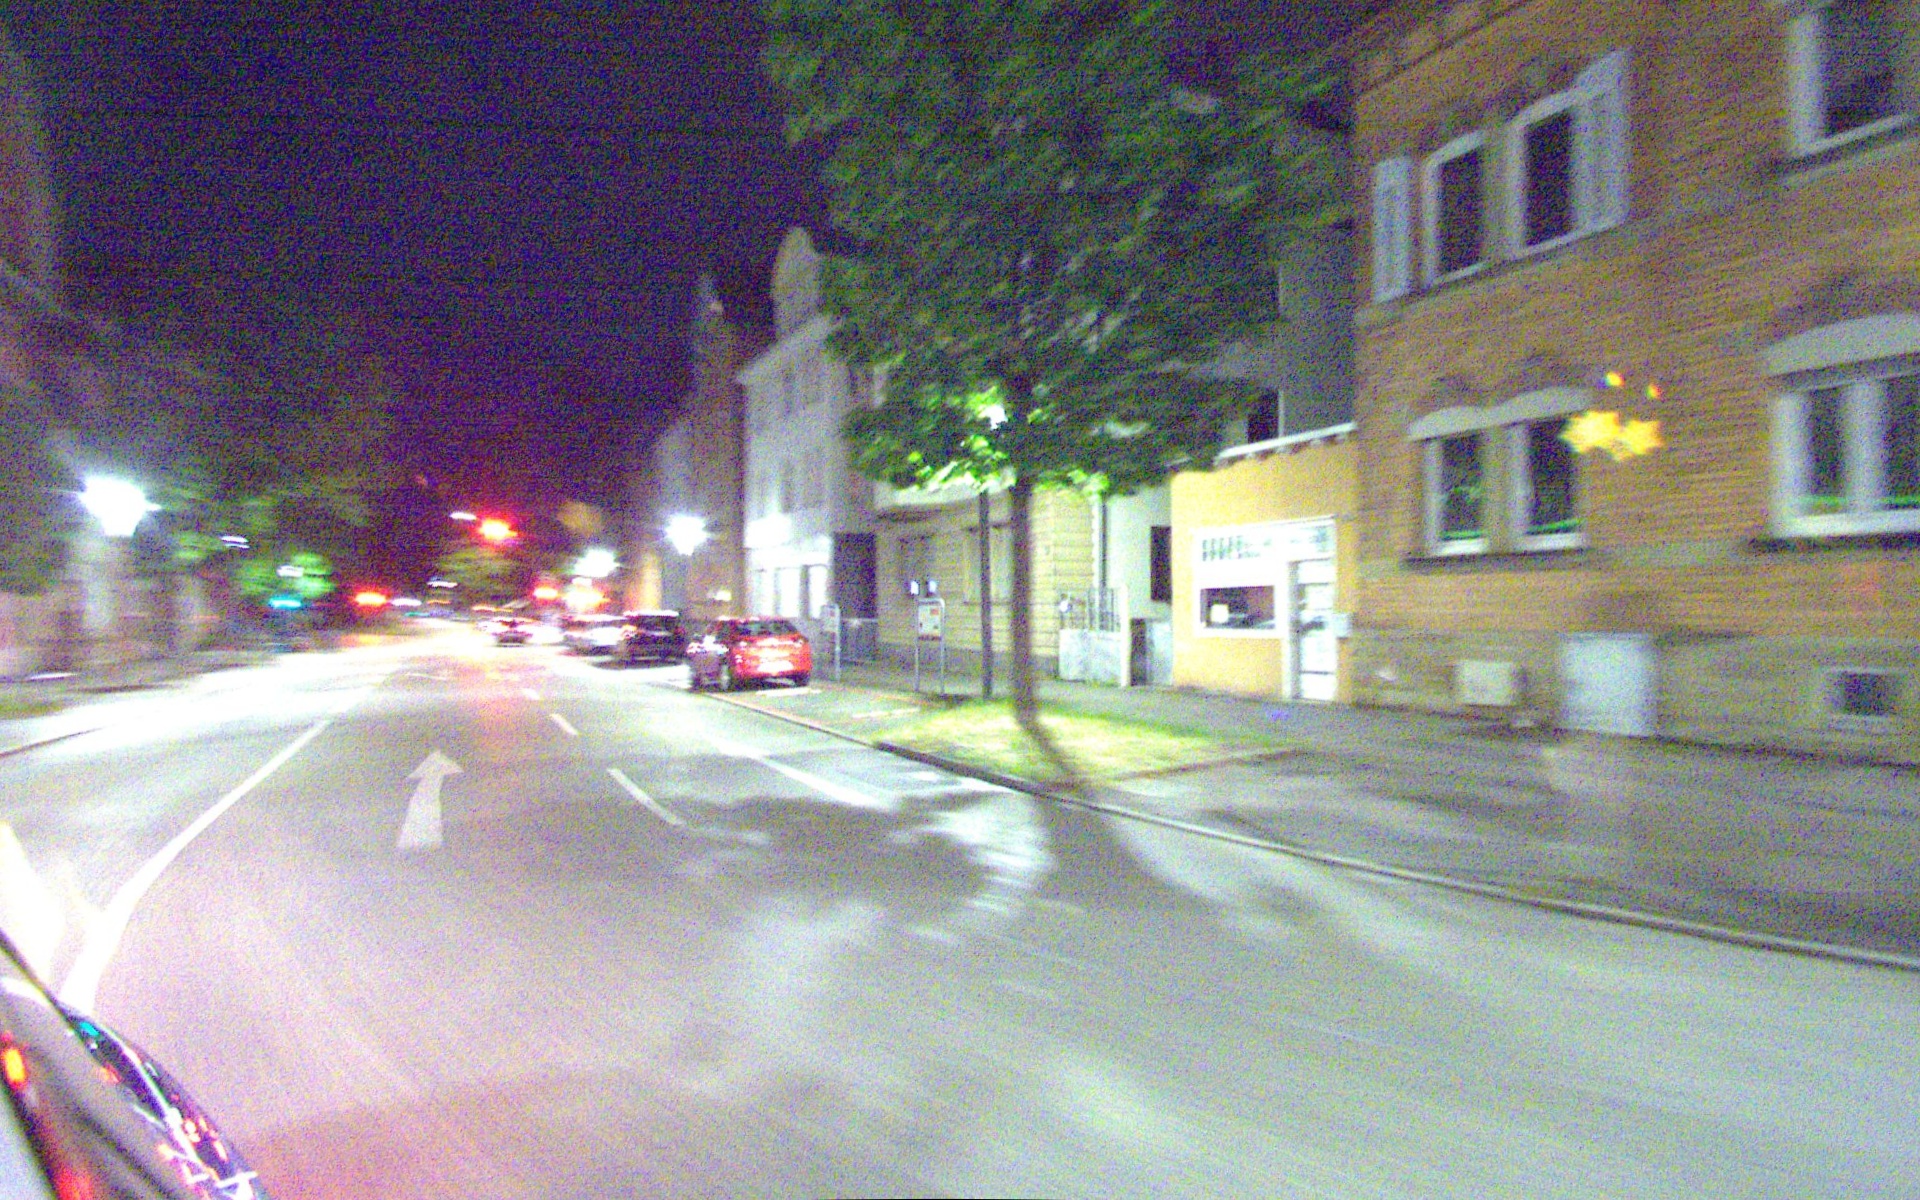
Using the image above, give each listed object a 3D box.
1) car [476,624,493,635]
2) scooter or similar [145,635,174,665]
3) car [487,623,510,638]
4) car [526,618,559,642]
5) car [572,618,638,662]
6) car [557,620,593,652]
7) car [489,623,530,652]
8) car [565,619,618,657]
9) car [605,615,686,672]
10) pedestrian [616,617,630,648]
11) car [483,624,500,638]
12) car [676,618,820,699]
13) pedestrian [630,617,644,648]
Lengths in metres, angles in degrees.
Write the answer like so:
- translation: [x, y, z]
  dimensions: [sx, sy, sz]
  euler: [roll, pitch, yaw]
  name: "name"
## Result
- translation: [-62.243, 3.879, 132.530]
  dimensions: [1.606, 1.475, 3.525]
  euler: [1, -2, -31]
  name: "car"
- translation: [-31.368, 1.943, 39.690]
  dimensions: [0.416, 1.139, 1.498]
  euler: [0, -2, -19]
  name: "scooter or similar"
- translation: [-48.513, 3.165, 106.299]
  dimensions: [1.835, 1.444, 4.417]
  euler: [-1, -1, -29]
  name: "car"
- translation: [-29.555, 2.098, 71.577]
  dimensions: [1.859, 1.608, 4.037]
  euler: [-2, 0, -25]
  name: "car"
- translation: [-13.862, 1.537, 39.395]
  dimensions: [1.760, 1.502, 4.012]
  euler: [-3, 0, -28]
  name: "car"
- translation: [-20.176, 1.858, 52.984]
  dimensions: [1.570, 1.502, 3.711]
  euler: [-3, 0, -23]
  name: "car"
- translation: [-22.781, 1.878, 51.098]
  dimensions: [1.691, 1.440, 4.013]
  euler: [2, -2, -27]
  name: "car"
- translation: [-16.265, 1.635, 44.534]
  dimensions: [1.759, 1.502, 4.343]
  euler: [-3, 0, -25]
  name: "car"
- translation: [-10.063, 1.334, 32.154]
  dimensions: [1.759, 1.594, 4.425]
  euler: [-3, 0, -26]
  name: "car"
- translation: [-18.526, 1.772, 55.610]
  dimensions: [0.699, 1.703, 1.127]
  euler: [0, -2, -17]
  name: "pedestrian"
- translation: [-52.340, 3.406, 112.990]
  dimensions: [1.529, 1.444, 4.362]
  euler: [-2, 0, -27]
  name: "car"
- translation: [-4.486, 1.133, 20.923]
  dimensions: [1.759, 1.426, 4.139]
  euler: [-2, -1, -28]
  name: "car"
- translation: [-17.789, 1.782, 55.713]
  dimensions: [0.699, 1.703, 1.000]
  euler: [0, -2, -17]
  name: "pedestrian"
